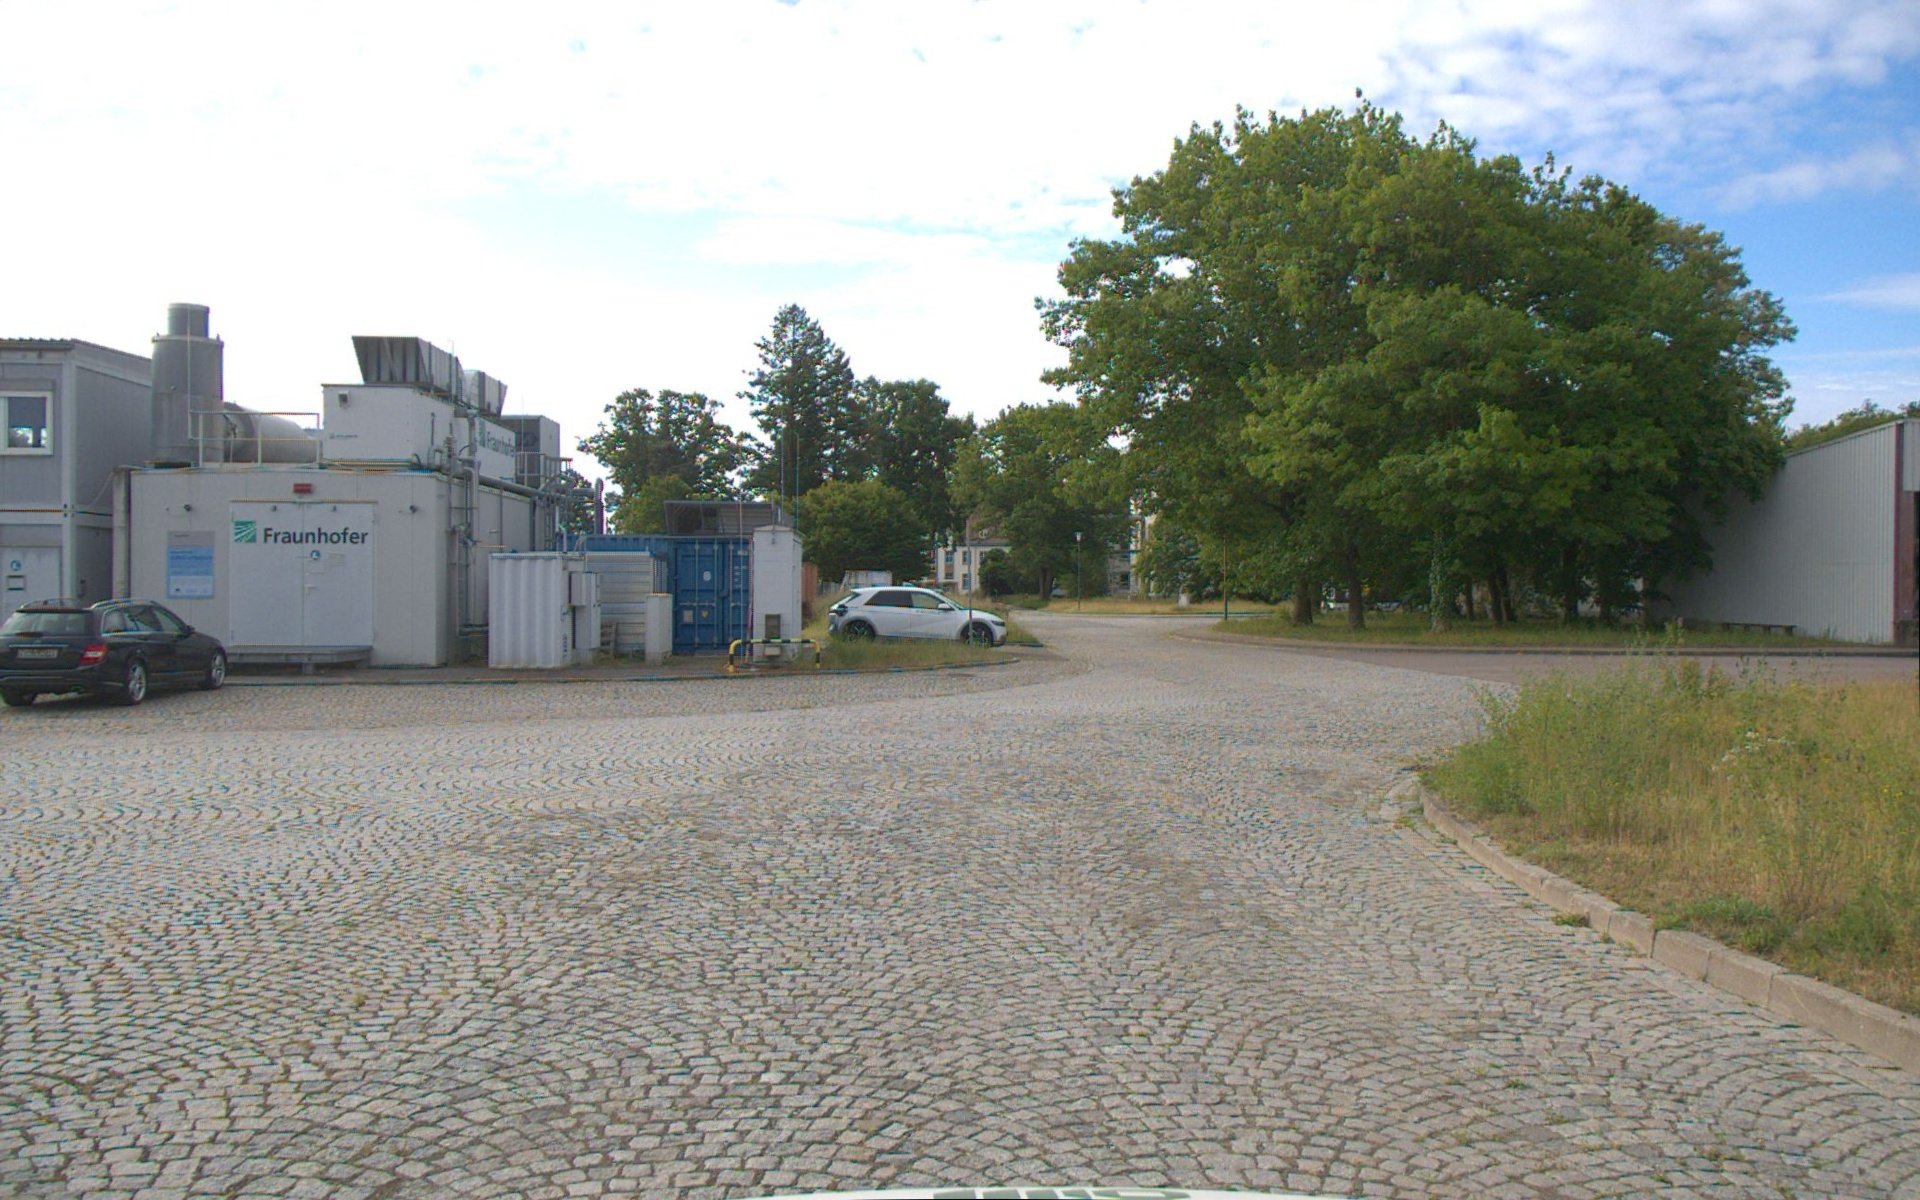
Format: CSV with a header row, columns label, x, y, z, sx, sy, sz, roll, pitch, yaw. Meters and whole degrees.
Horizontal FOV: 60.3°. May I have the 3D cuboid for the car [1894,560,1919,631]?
label,x,y,z,sx,sy,sz,roll,pitch,yaw
car,28.704,-0.139,46.016,2.197,2.049,5.333,0,0,-4

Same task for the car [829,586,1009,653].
label,x,y,z,sx,sy,sz,roll,pitch,yaw
car,-1.006,0.483,41.817,4.441,1.627,2.000,0,0,0

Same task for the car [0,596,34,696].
label,x,y,z,sx,sy,sz,roll,pitch,yaw
car,-15.543,0.745,24.245,1.869,1.501,4.044,0,2,-4

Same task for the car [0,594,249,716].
label,x,y,z,sx,sy,sz,roll,pitch,yaw
car,-12.320,0.721,24.220,1.995,1.478,4.528,0,2,-2

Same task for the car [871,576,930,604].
label,x,y,z,sx,sy,sz,roll,pitch,yaw
car,-5.122,-0.901,143.278,5.067,2.378,1.999,0,0,-3
